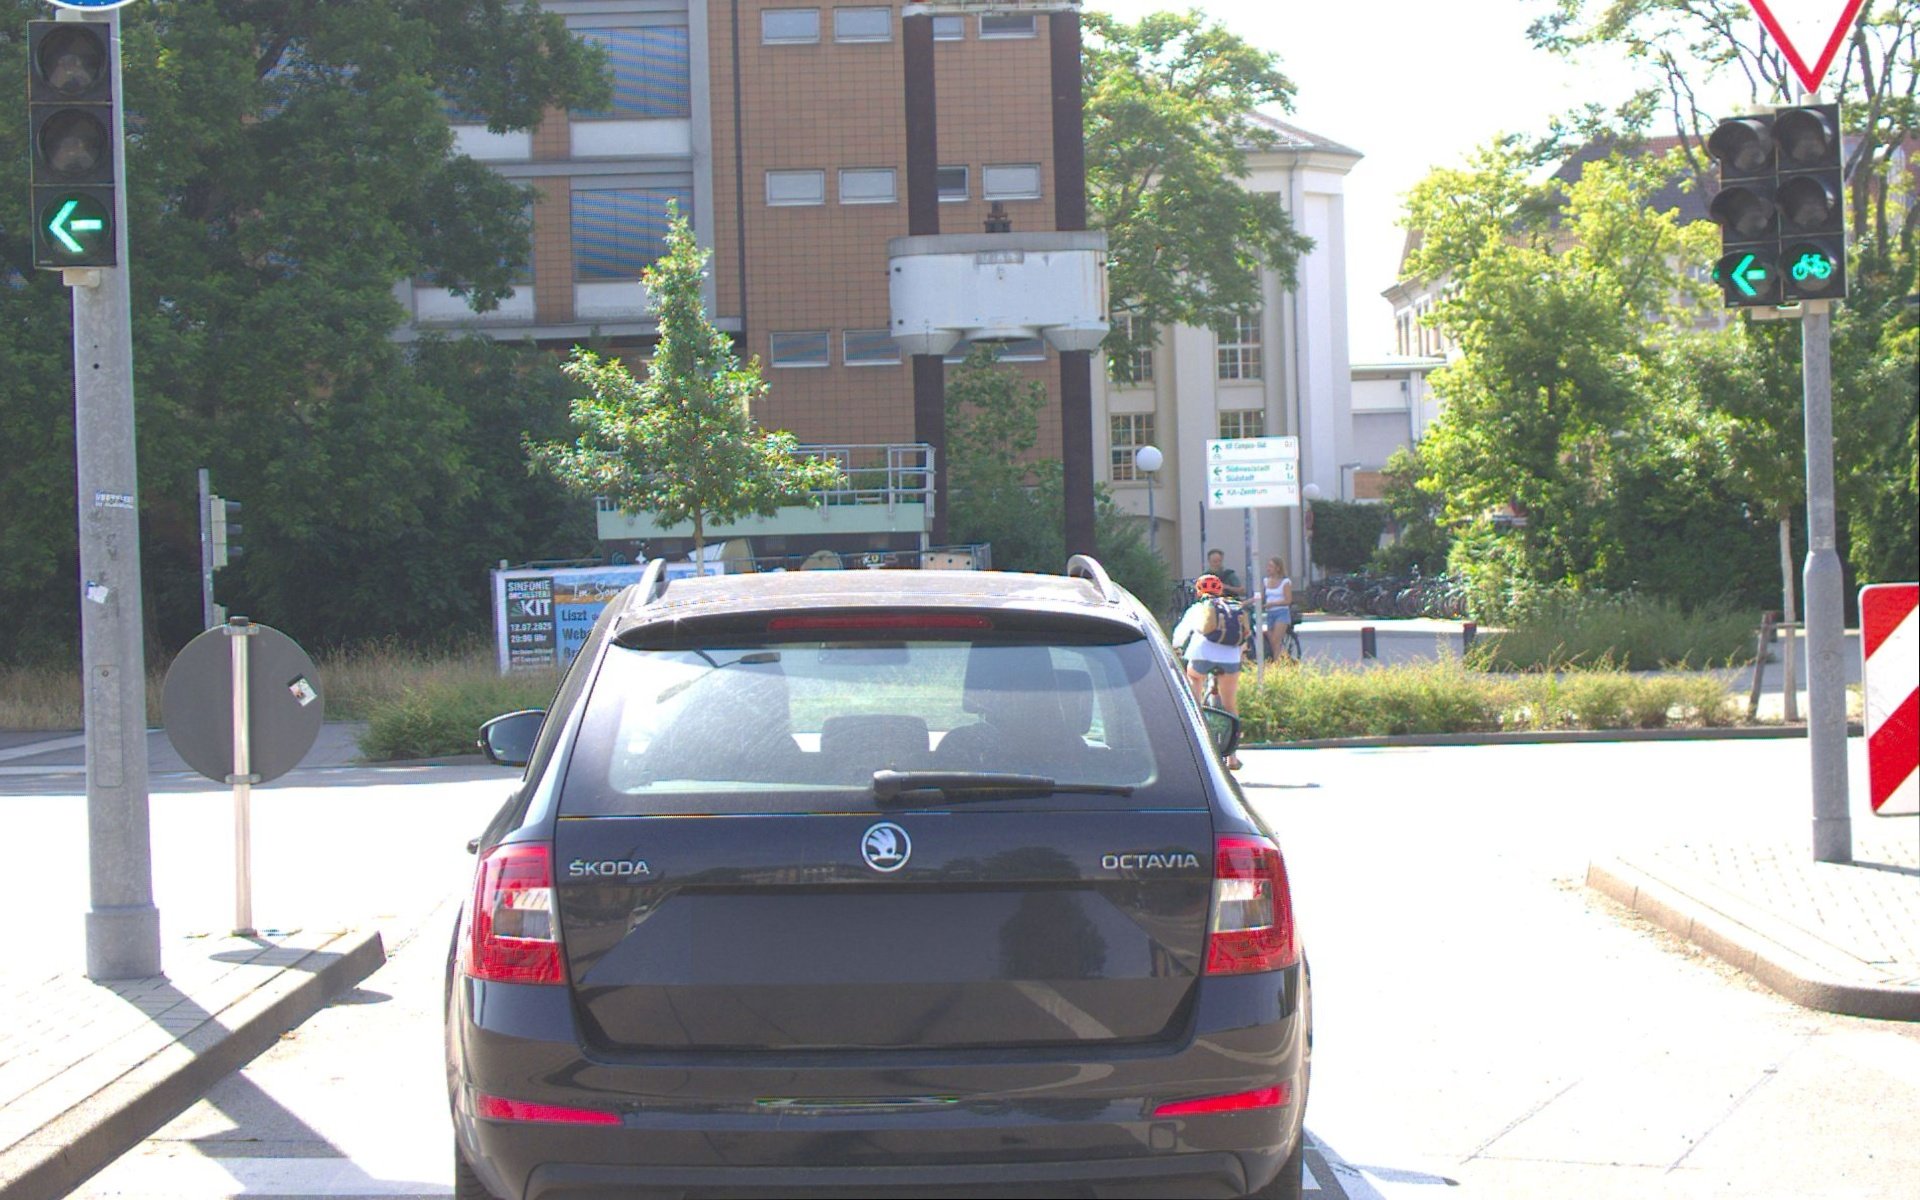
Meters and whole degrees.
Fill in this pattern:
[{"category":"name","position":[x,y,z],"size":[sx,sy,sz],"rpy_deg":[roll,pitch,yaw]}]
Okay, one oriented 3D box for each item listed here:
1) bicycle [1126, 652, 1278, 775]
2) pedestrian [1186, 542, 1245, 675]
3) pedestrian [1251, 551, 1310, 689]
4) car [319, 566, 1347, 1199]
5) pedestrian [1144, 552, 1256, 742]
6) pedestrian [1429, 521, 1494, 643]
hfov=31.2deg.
[{"category":"bicycle","position":[1.884,0.872,27.013],"size":[0.596,0.928,2.029],"rpy_deg":[0,-1,-14]},{"category":"pedestrian","position":[3.644,0.117,48.984],"size":[0.597,1.868,0.638],"rpy_deg":[-2,0,23]},{"category":"pedestrian","position":[4.468,0.276,47.990],"size":[0.637,1.868,0.796],"rpy_deg":[-3,1,-1]},{"category":"car","position":[-0.225,0.646,7.866],"size":[1.780,1.438,3.818],"rpy_deg":[0,1,0]},{"category":"pedestrian","position":[1.879,0.358,27.017],"size":[0.583,1.461,1.014],"rpy_deg":[0,0,-14]},{"category":"pedestrian","position":[7.909,-0.279,54.221],"size":[0.794,1.868,0.638],"rpy_deg":[-3,1,21]}]
